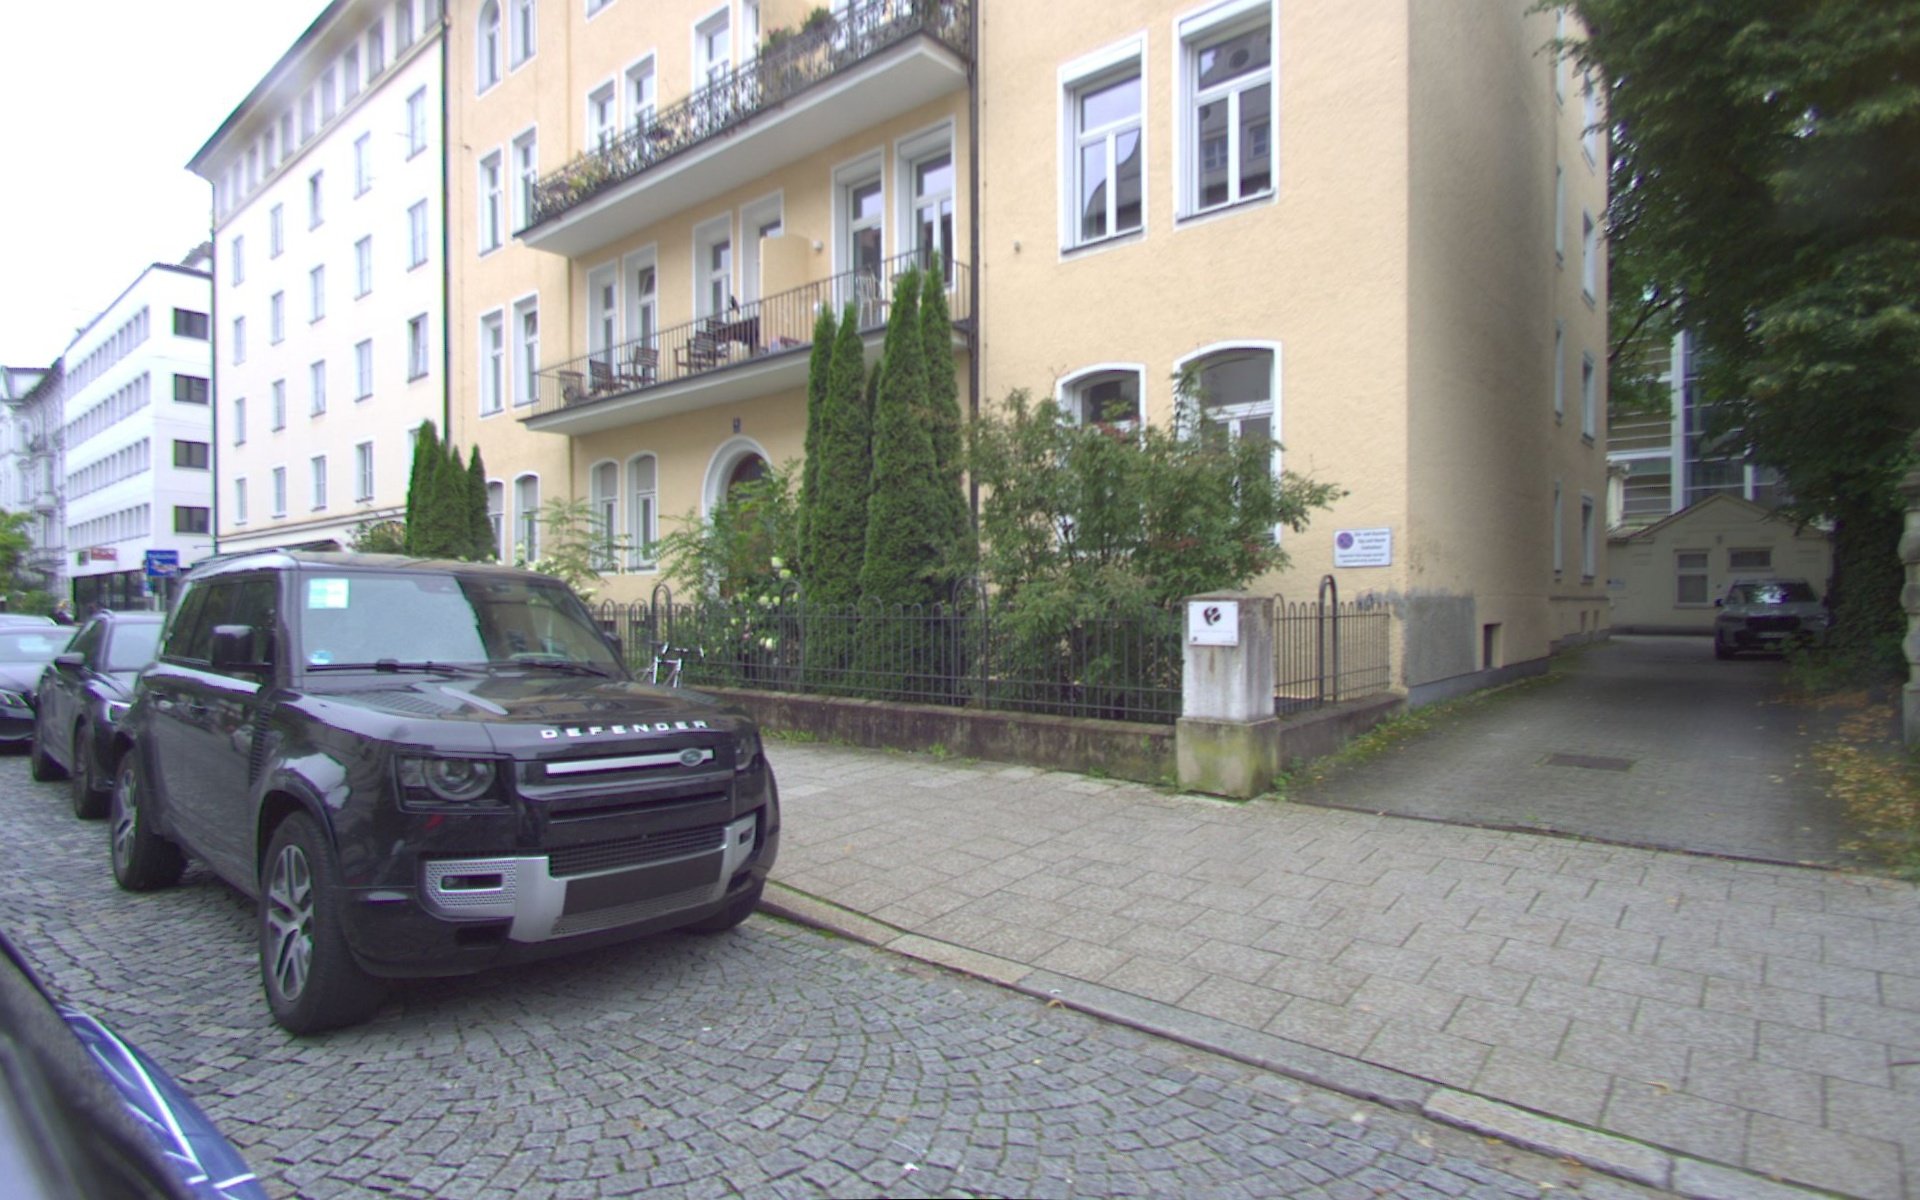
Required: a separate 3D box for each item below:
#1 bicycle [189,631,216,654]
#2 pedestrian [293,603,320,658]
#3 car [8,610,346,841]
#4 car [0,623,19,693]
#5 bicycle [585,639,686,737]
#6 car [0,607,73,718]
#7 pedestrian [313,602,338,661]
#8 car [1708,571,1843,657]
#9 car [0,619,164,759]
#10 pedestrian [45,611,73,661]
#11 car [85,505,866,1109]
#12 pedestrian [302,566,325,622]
[{"bbox_3d":[-33.252,1.853,44.409,1.890,0.975,0.394,-1,0,35],"label":"bicycle"},{"bbox_3d":[-19.904,0.930,30.820,0.629,1.655,0.516,-1,0,40],"label":"pedestrian"},{"bbox_3d":[-7.050,0.906,8.957,4.054,1.602,1.563,-1,-2,41],"label":"car"},{"bbox_3d":[-21.046,1.181,20.987,4.388,1.370,1.755,-1,0,41],"label":"car"},{"bbox_3d":[-3.731,0.976,11.576,1.572,1.010,0.348,-1,0,42],"label":"bicycle"},{"bbox_3d":[-16.117,0.972,16.641,4.389,1.660,1.755,-1,0,41],"label":"car"},{"bbox_3d":[-18.773,0.919,29.943,0.574,1.703,0.457,-1,0,41],"label":"pedestrian"},{"bbox_3d":[17.637,0.266,21.826,2.000,1.677,3.944,-1,0,43],"label":"car"},{"bbox_3d":[-11.548,0.991,12.598,4.388,1.440,1.755,-1,0,41],"label":"car"},{"bbox_3d":[-34.130,1.346,38.346,0.812,1.854,0.608,-1,0,34],"label":"pedestrian"},{"bbox_3d":[-2.833,0.641,5.249,4.720,1.751,1.962,-2,-1,41],"label":"car"},{"bbox_3d":[-19.391,-0.190,30.351,0.497,1.655,0.472,-1,0,45],"label":"pedestrian"}]
